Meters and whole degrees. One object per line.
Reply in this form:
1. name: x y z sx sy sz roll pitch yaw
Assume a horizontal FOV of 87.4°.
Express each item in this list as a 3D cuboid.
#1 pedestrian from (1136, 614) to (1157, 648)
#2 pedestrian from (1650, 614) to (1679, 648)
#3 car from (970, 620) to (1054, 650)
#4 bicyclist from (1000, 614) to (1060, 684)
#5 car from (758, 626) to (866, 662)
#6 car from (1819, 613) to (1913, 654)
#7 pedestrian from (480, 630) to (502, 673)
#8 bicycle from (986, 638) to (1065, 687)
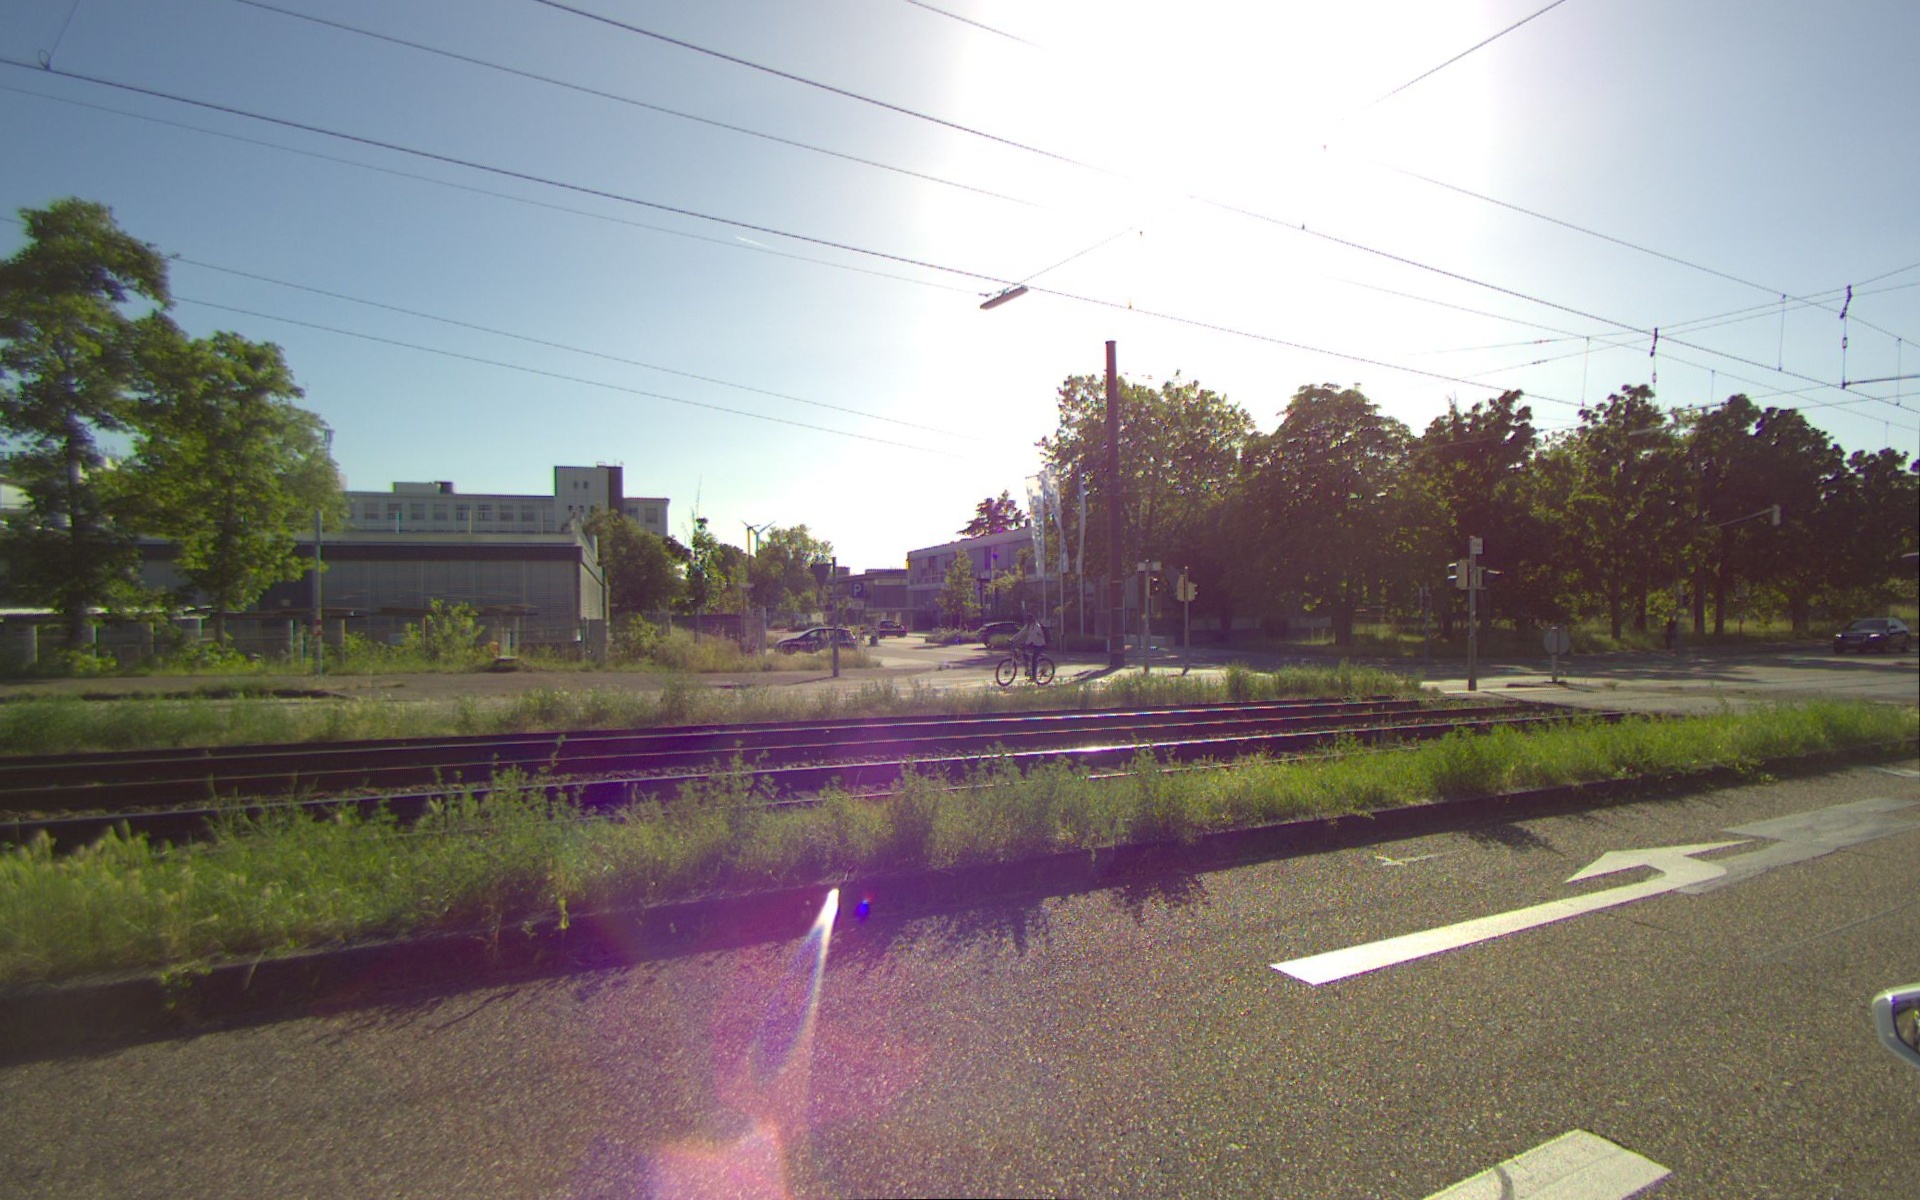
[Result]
1. pedestrian: 10.117 1.685 54.521 0.807 1.811 0.950 0 0 -16
2. pedestrian: 36.024 1.574 51.386 0.919 1.757 0.761 0 0 -2
3. car: 3.206 2.141 61.719 4.768 1.751 2.041 1 0 -21
4. bicyclist: 1.678 1.156 24.075 1.217 1.614 0.801 1 0 -19
5. car: -7.673 2.261 51.924 5.210 1.772 2.164 1 0 -19
6. car: 43.186 1.584 47.863 4.739 1.834 2.082 0 -2 -32
7. pedestrian: -14.696 1.611 31.472 0.432 1.318 0.441 0 0 18
8. bicycle: 1.576 1.486 24.044 1.754 1.117 0.696 1 0 -20
